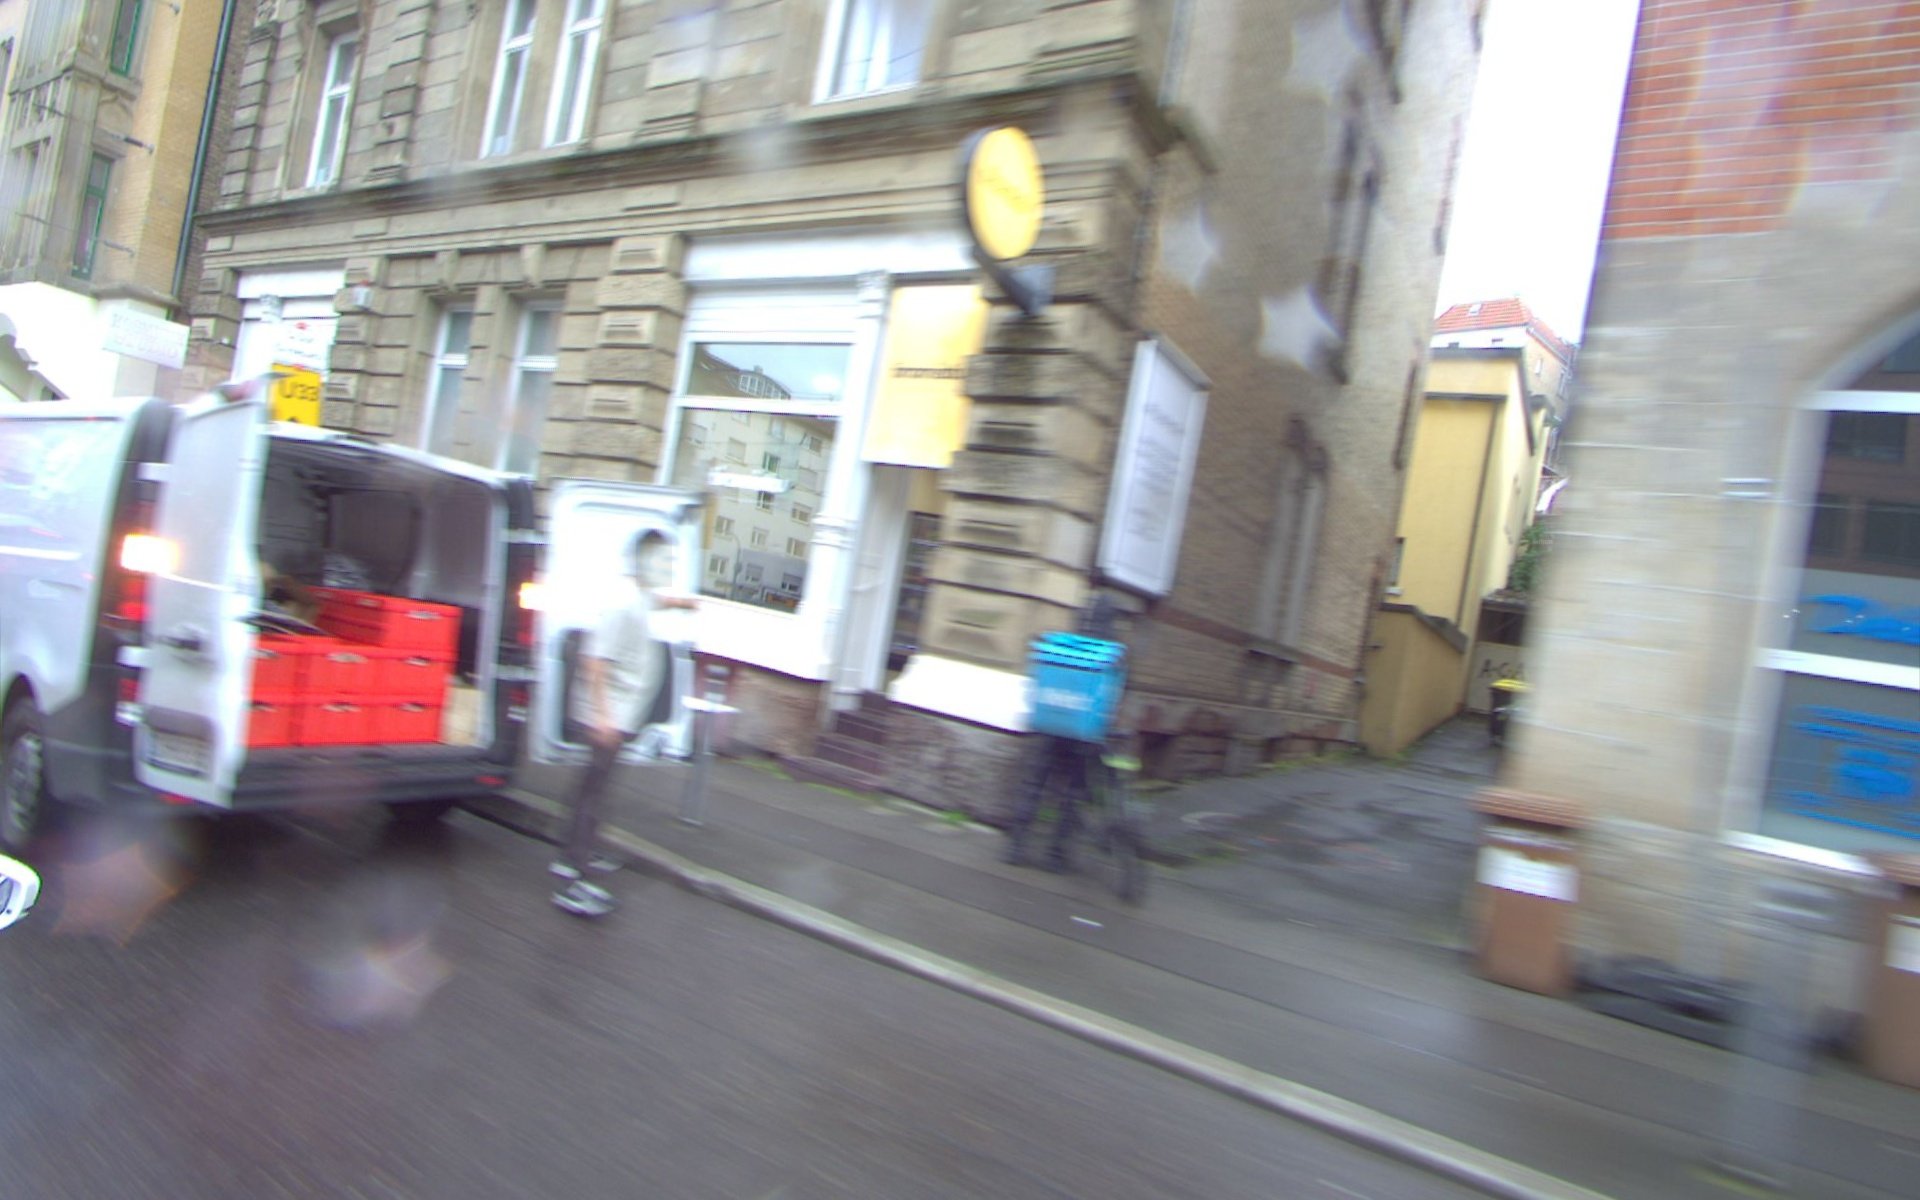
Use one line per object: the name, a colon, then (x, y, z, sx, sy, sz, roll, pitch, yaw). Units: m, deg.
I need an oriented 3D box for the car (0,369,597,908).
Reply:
car: (-4.440, 0.020, 5.715, 4.610, 1.957, 1.924, 7, -2, 34)

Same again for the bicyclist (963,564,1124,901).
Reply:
bicyclist: (0.499, 0.701, 5.658, 0.619, 1.676, 0.851, 7, 0, 10)

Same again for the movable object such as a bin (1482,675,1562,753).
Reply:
movable object such as a bin: (11.703, 2.335, 20.923, 1.094, 1.388, 1.485, 7, 3, 39)

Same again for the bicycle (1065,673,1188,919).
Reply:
bicycle: (0.925, 1.047, 5.914, 0.456, 1.128, 1.690, 7, -1, 5)

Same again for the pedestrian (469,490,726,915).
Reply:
pedestrian: (-1.655, 0.466, 4.740, 0.822, 1.774, 0.686, 8, 0, -10)
